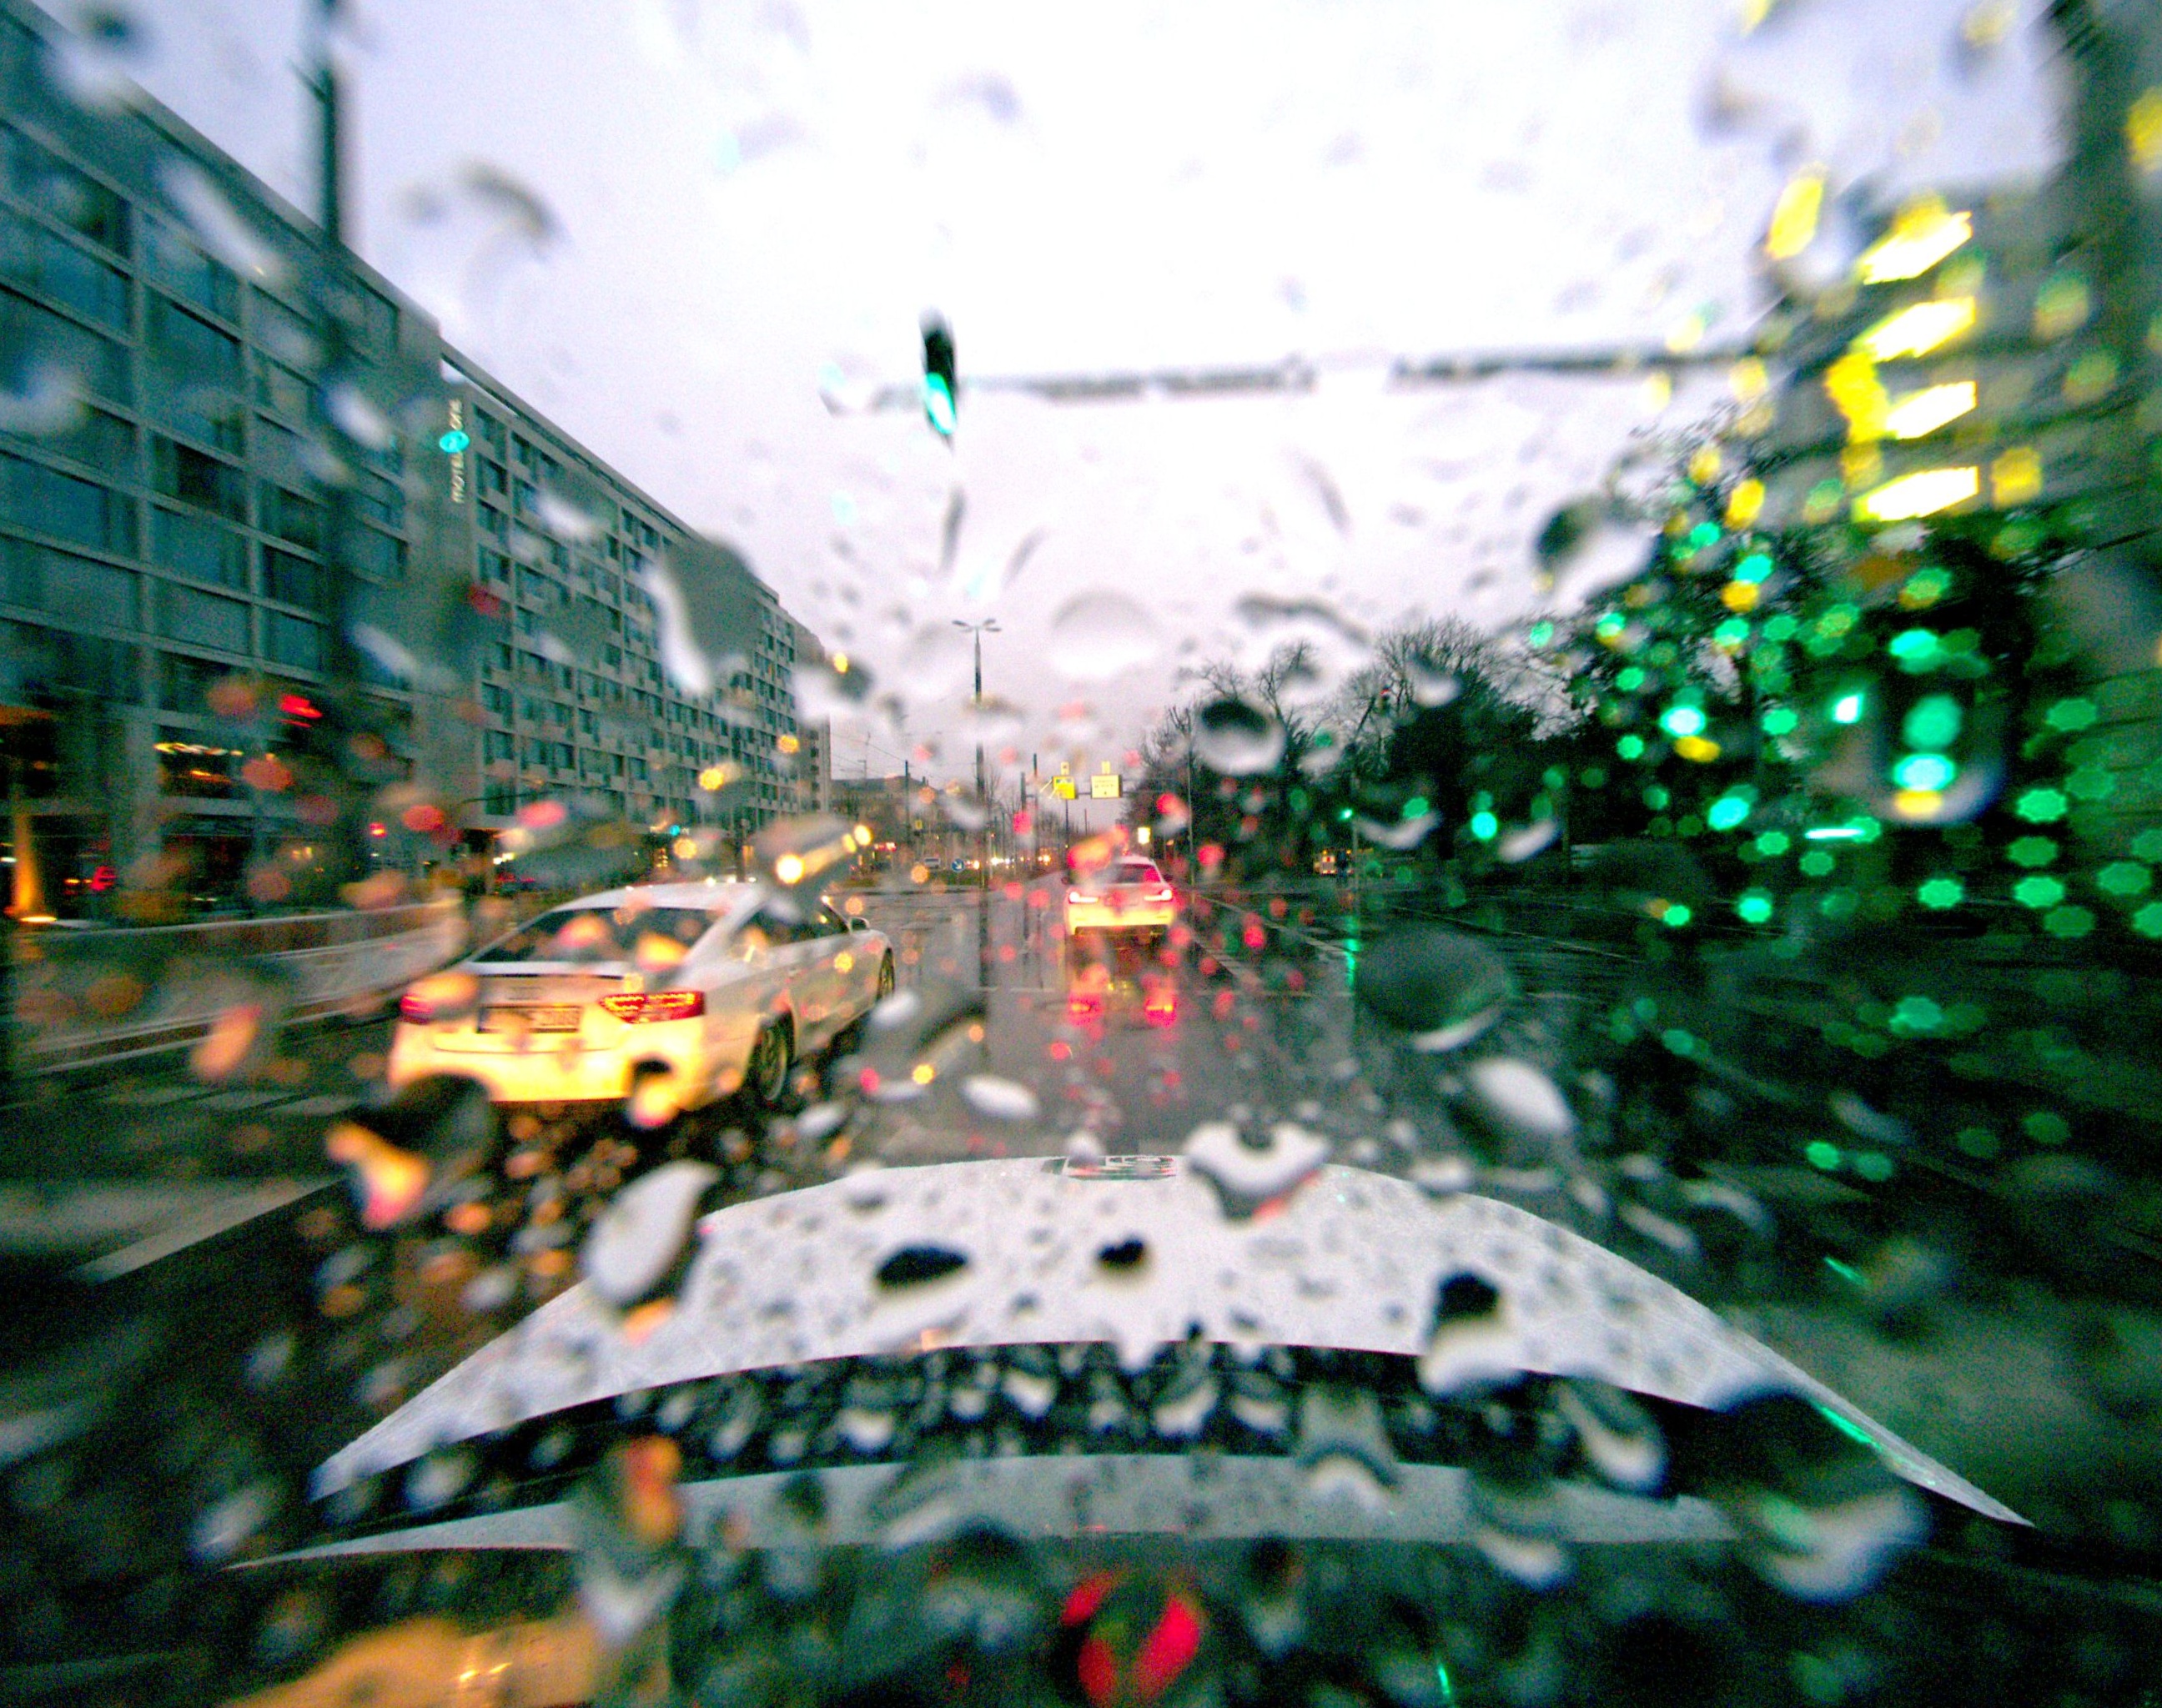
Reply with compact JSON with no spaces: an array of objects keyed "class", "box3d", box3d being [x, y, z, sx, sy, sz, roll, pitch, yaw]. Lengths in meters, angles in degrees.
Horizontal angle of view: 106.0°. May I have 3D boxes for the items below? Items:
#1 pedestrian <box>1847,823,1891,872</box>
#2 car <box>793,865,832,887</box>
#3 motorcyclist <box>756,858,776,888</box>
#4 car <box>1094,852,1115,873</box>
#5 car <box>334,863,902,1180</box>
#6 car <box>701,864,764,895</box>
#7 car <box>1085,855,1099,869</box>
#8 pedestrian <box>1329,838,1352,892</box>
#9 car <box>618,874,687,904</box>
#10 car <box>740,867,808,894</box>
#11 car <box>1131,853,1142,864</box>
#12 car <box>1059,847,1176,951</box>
[{"class":"pedestrian","box3d":[26.964,-0.212,27.878,0.727,1.640,0.845,0,-1,-23]},{"class":"car","box3d":[-18.599,1.490,56.586,1.995,1.462,5.073,-1,0,-12]},{"class":"motorcyclist","box3d":[-20.254,1.209,52.380,0.867,1.885,1.034,-1,0,2]},{"class":"car","box3d":[2.283,0.818,79.820,1.986,2.014,4.002,-1,0,2]},{"class":"car","box3d":[-2.685,0.821,6.031,1.754,1.469,4.251,-1,0,0]},{"class":"car","box3d":[-21.808,1.566,51.138,1.874,1.789,4.600,-1,0,1]},{"class":"car","box3d":[1.631,1.104,120.082,1.986,2.014,4.002,-1,0,2]},{"class":"pedestrian","box3d":[9.171,0.370,28.759,0.706,1.879,0.678,-1,-1,21]},{"class":"car","box3d":[-25.404,2.050,48.482,1.874,1.574,4.002,-1,0,2]},{"class":"car","box3d":[-18.607,1.572,49.650,1.986,1.462,5.097,-1,0,2]},{"class":"car","box3d":[11.052,0.887,162.769,1.986,2.014,4.002,-1,0,2]},{"class":"car","box3d":[0.510,0.687,14.489,1.755,1.552,4.249,-1,0,-1]}]
